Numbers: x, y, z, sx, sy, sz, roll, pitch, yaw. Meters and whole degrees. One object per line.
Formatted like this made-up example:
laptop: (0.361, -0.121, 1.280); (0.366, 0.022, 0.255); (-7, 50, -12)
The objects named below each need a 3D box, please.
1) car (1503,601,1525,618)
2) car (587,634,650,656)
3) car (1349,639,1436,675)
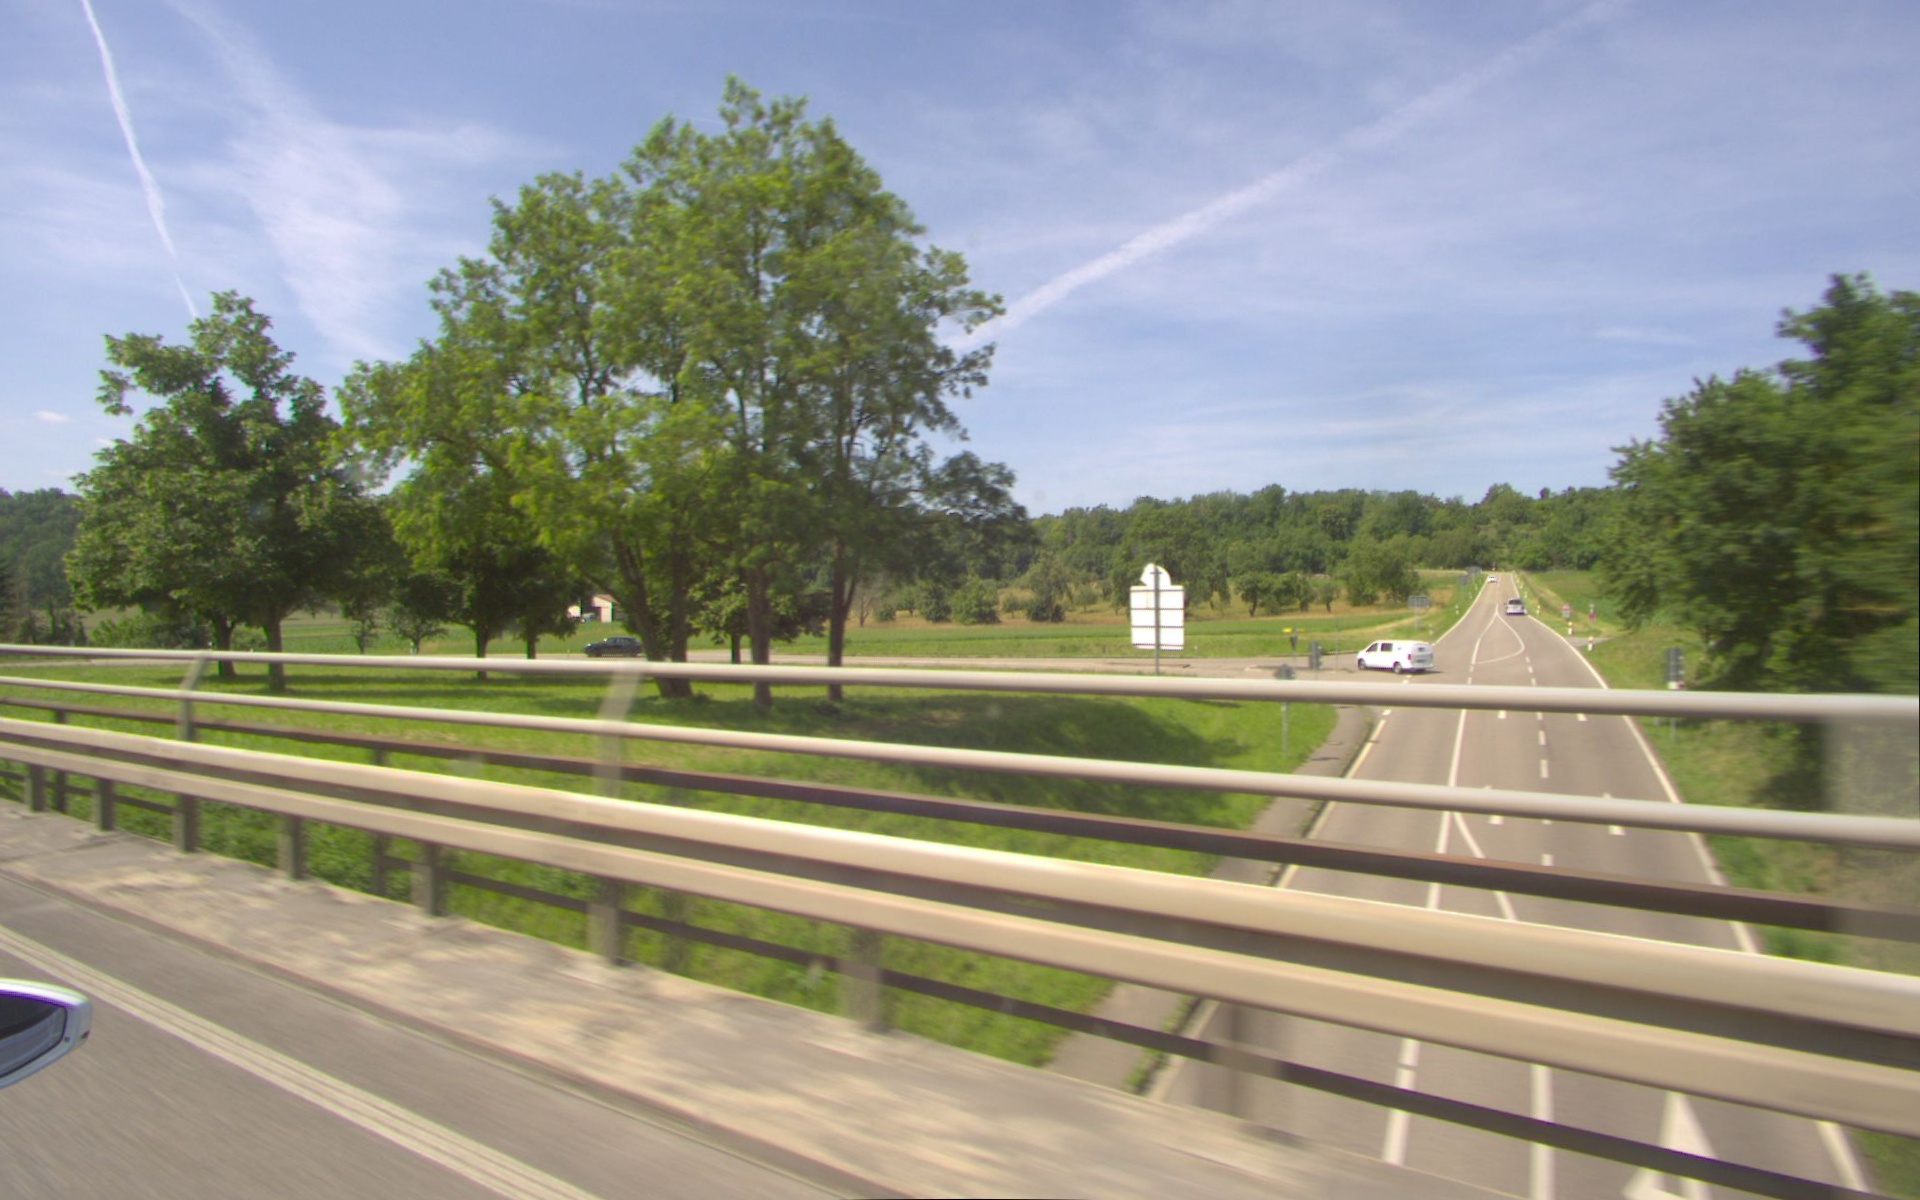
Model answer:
car: (59.213, 0.963, 107.096); (1.782, 1.571, 3.982); (0, 3, 26)
car: (-27.313, 3.569, 80.254); (4.343, 1.610, 2.064); (1, -1, -1)
car: (26.314, 3.432, 61.206); (1.964, 1.871, 5.412); (-1, 0, -15)
